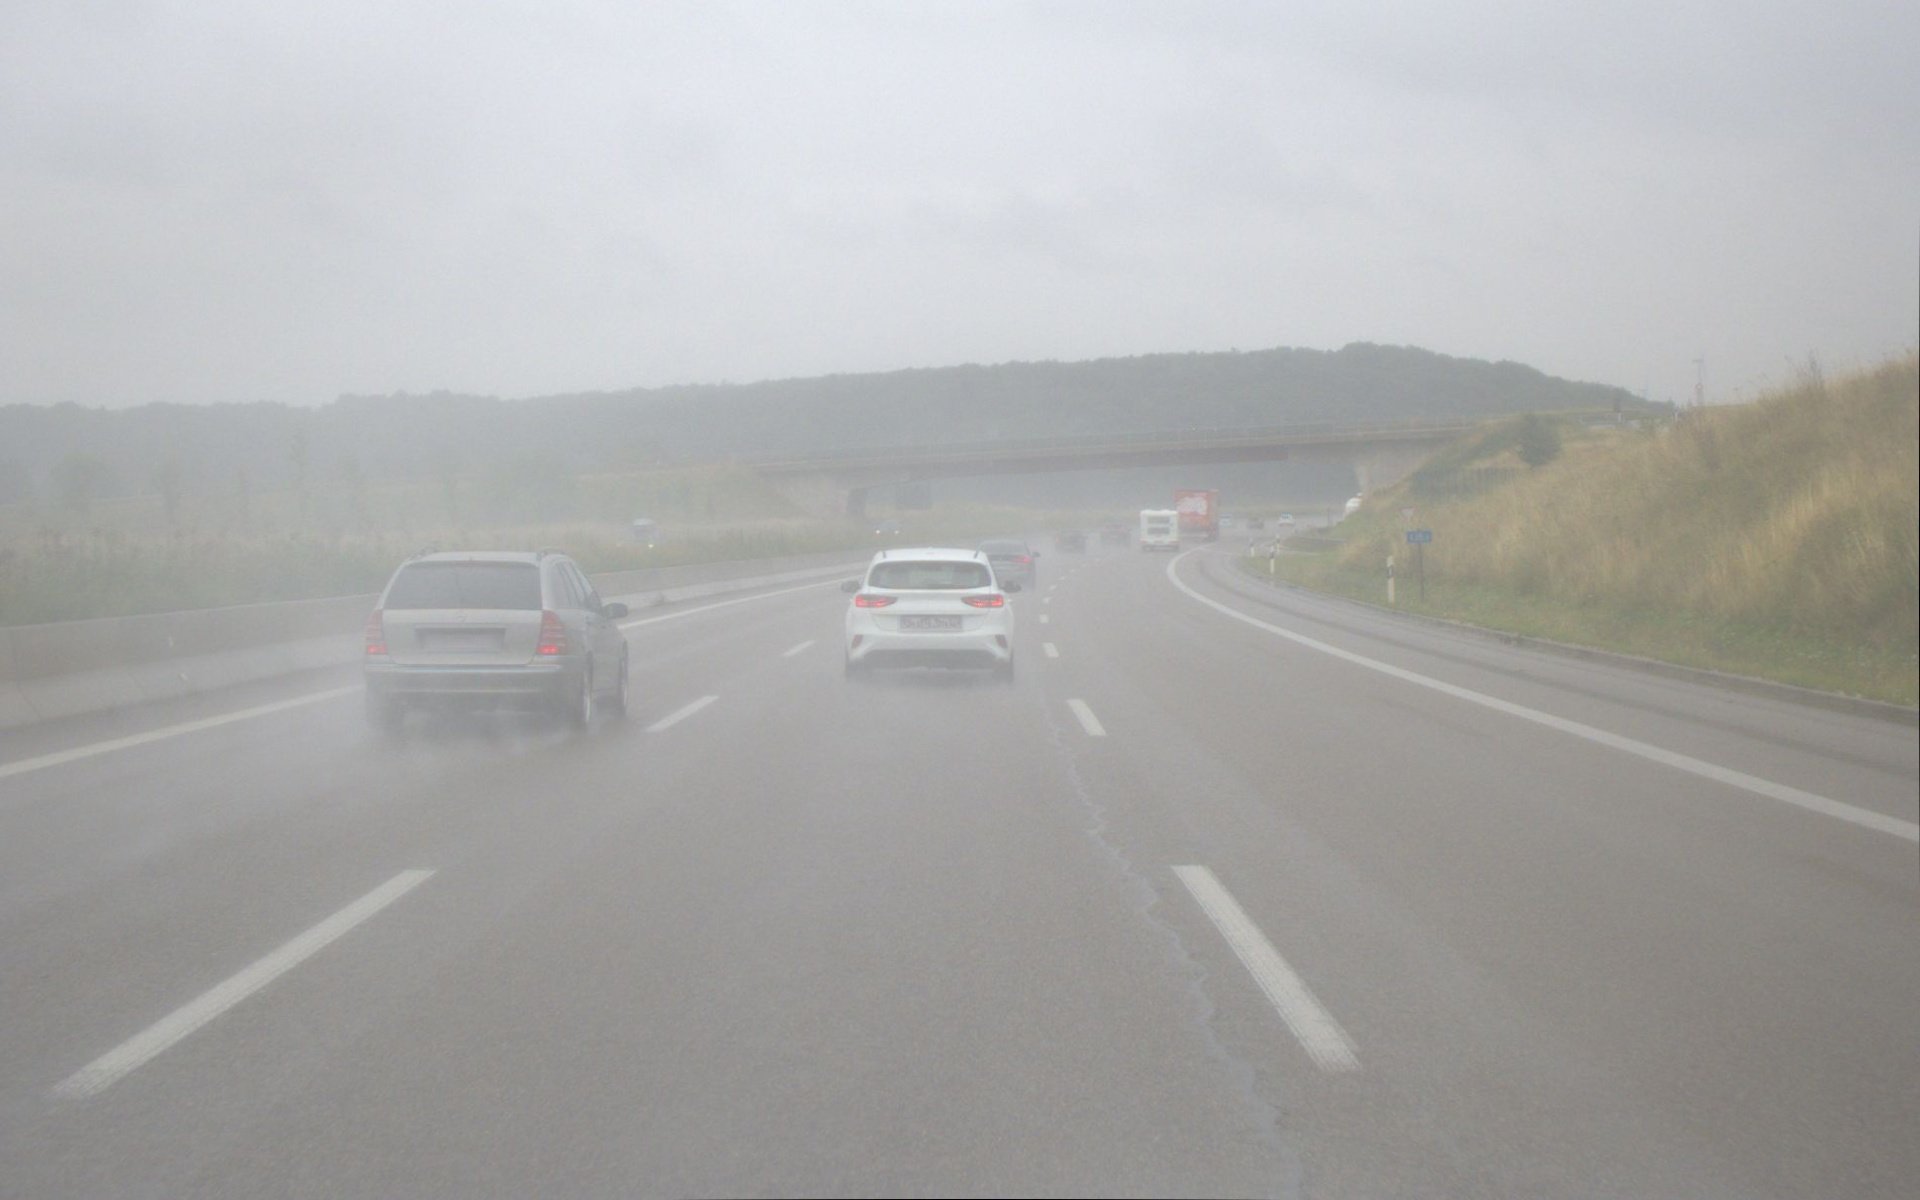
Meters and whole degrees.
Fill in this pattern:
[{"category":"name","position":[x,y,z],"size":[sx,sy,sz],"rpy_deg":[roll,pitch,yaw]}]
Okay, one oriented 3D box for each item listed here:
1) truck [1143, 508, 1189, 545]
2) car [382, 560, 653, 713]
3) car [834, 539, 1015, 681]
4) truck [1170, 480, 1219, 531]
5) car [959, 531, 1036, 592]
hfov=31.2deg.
[{"category":"truck","position":[12.526,-4.490,208.968],"size":[2.408,2.244,4.691],"rpy_deg":[0,2,8]},{"category":"car","position":[-3.569,0.259,28.405],"size":[1.823,1.152,4.213],"rpy_deg":[1,1,-2]},{"category":"car","position":[-0.408,0.070,37.607],"size":[1.867,1.458,4.000],"rpy_deg":[0,1,-1]},{"category":"truck","position":[18.087,-7.299,264.485],"size":[3.528,3.730,11.425],"rpy_deg":[1,3,5]},{"category":"car","position":[1.056,-1.075,94.321],"size":[1.994,1.612,4.000],"rpy_deg":[0,2,2]}]
